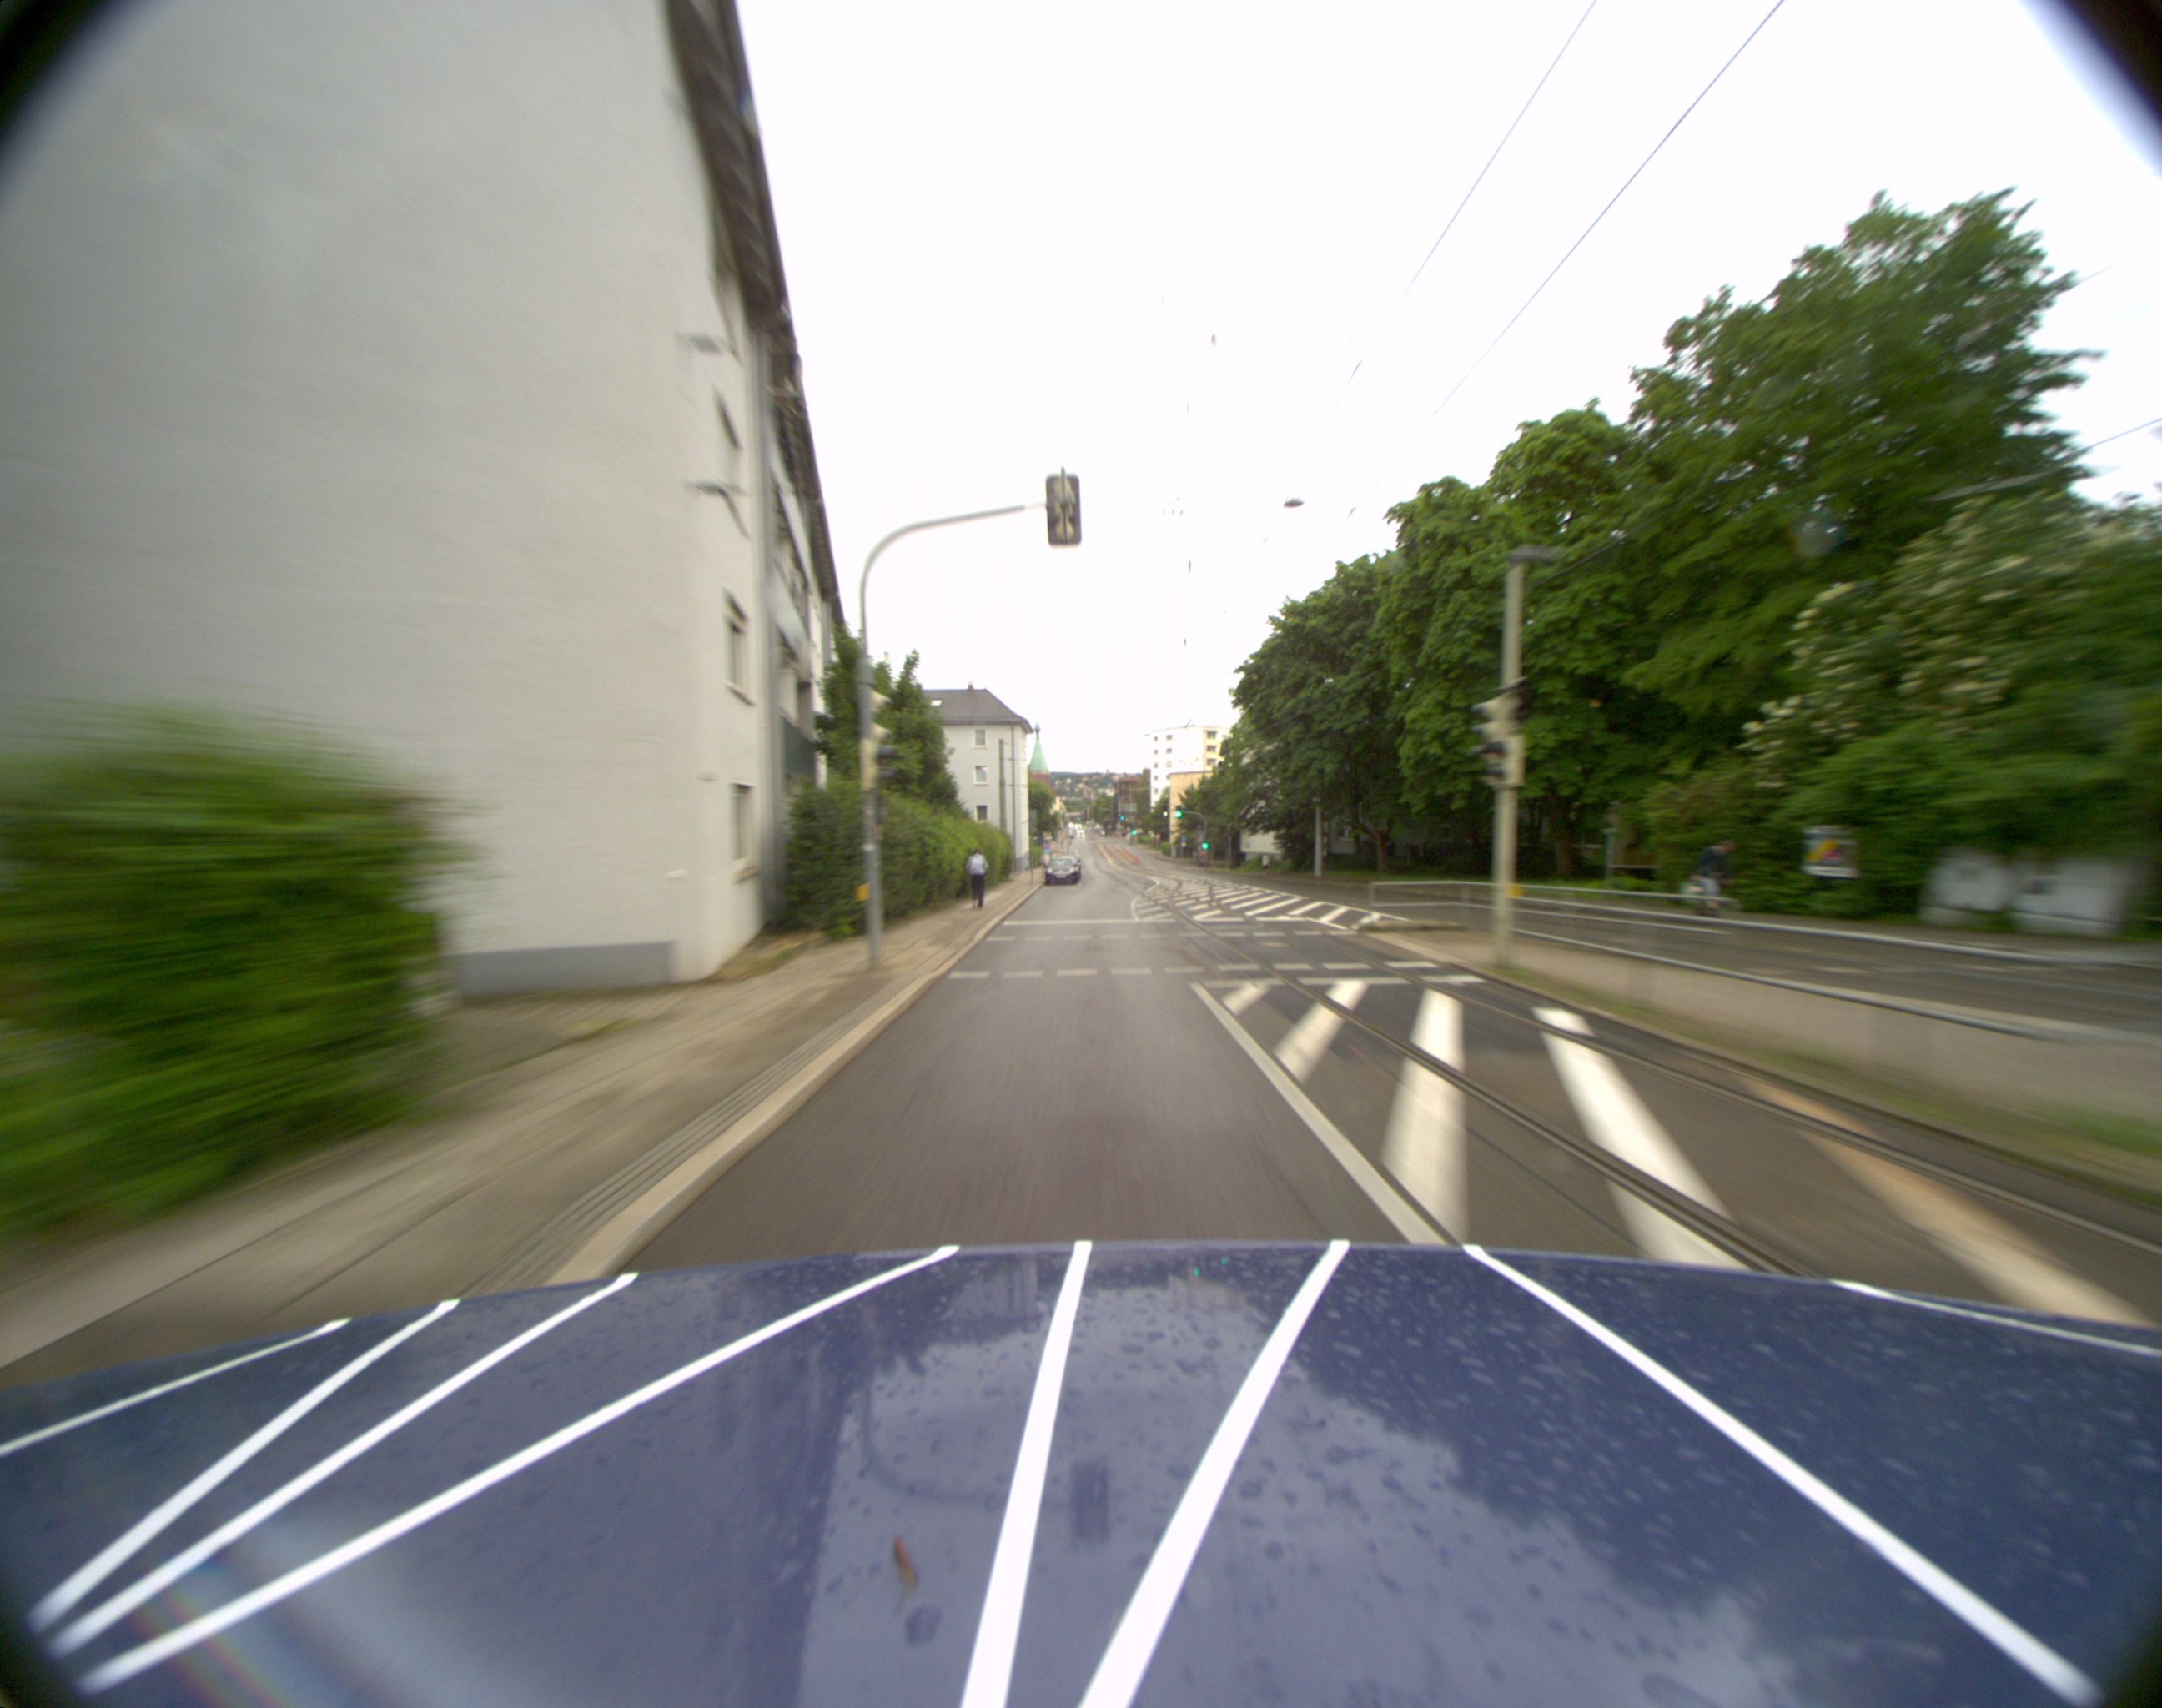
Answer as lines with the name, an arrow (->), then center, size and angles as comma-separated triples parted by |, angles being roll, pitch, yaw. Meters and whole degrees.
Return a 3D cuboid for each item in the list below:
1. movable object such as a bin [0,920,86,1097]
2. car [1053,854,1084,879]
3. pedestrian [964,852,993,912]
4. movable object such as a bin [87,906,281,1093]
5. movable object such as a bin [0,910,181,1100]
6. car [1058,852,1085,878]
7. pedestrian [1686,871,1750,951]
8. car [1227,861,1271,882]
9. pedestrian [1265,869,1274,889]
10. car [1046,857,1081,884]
movable object such as a bin -> -7.294, 1.024, 5.059 | 0.517, 1.105, 0.642 | -1, 0, -14
car -> -0.730, 0.758, 47.040 | 1.725, 1.479, 4.000 | -1, 0, 1
pedestrian -> -2.770, 0.742, 20.606 | 0.657, 1.611, 0.630 | 0, 0, 5
movable object such as a bin -> -6.172, 0.959, 5.271 | 0.536, 1.133, 0.701 | -2, 0, -16
movable object such as a bin -> -6.722, 0.978, 5.146 | 0.517, 1.152, 0.642 | -1, 0, -14
car -> -0.637, 0.748, 51.969 | 1.725, 1.673, 4.000 | -1, 0, 1
pedestrian -> 13.168, 1.158, 15.720 | 0.755, 1.584, 0.617 | -2, 0, 1
car -> 15.845, 1.629, 71.791 | 3.994, 1.739, 2.002 | -2, 0, 11
pedestrian -> 13.884, 1.857, 55.934 | 0.529, 1.418, 0.529 | -2, 0, 1
car -> -0.908, 0.861, 41.335 | 1.725, 1.350, 4.000 | -1, 0, 1
